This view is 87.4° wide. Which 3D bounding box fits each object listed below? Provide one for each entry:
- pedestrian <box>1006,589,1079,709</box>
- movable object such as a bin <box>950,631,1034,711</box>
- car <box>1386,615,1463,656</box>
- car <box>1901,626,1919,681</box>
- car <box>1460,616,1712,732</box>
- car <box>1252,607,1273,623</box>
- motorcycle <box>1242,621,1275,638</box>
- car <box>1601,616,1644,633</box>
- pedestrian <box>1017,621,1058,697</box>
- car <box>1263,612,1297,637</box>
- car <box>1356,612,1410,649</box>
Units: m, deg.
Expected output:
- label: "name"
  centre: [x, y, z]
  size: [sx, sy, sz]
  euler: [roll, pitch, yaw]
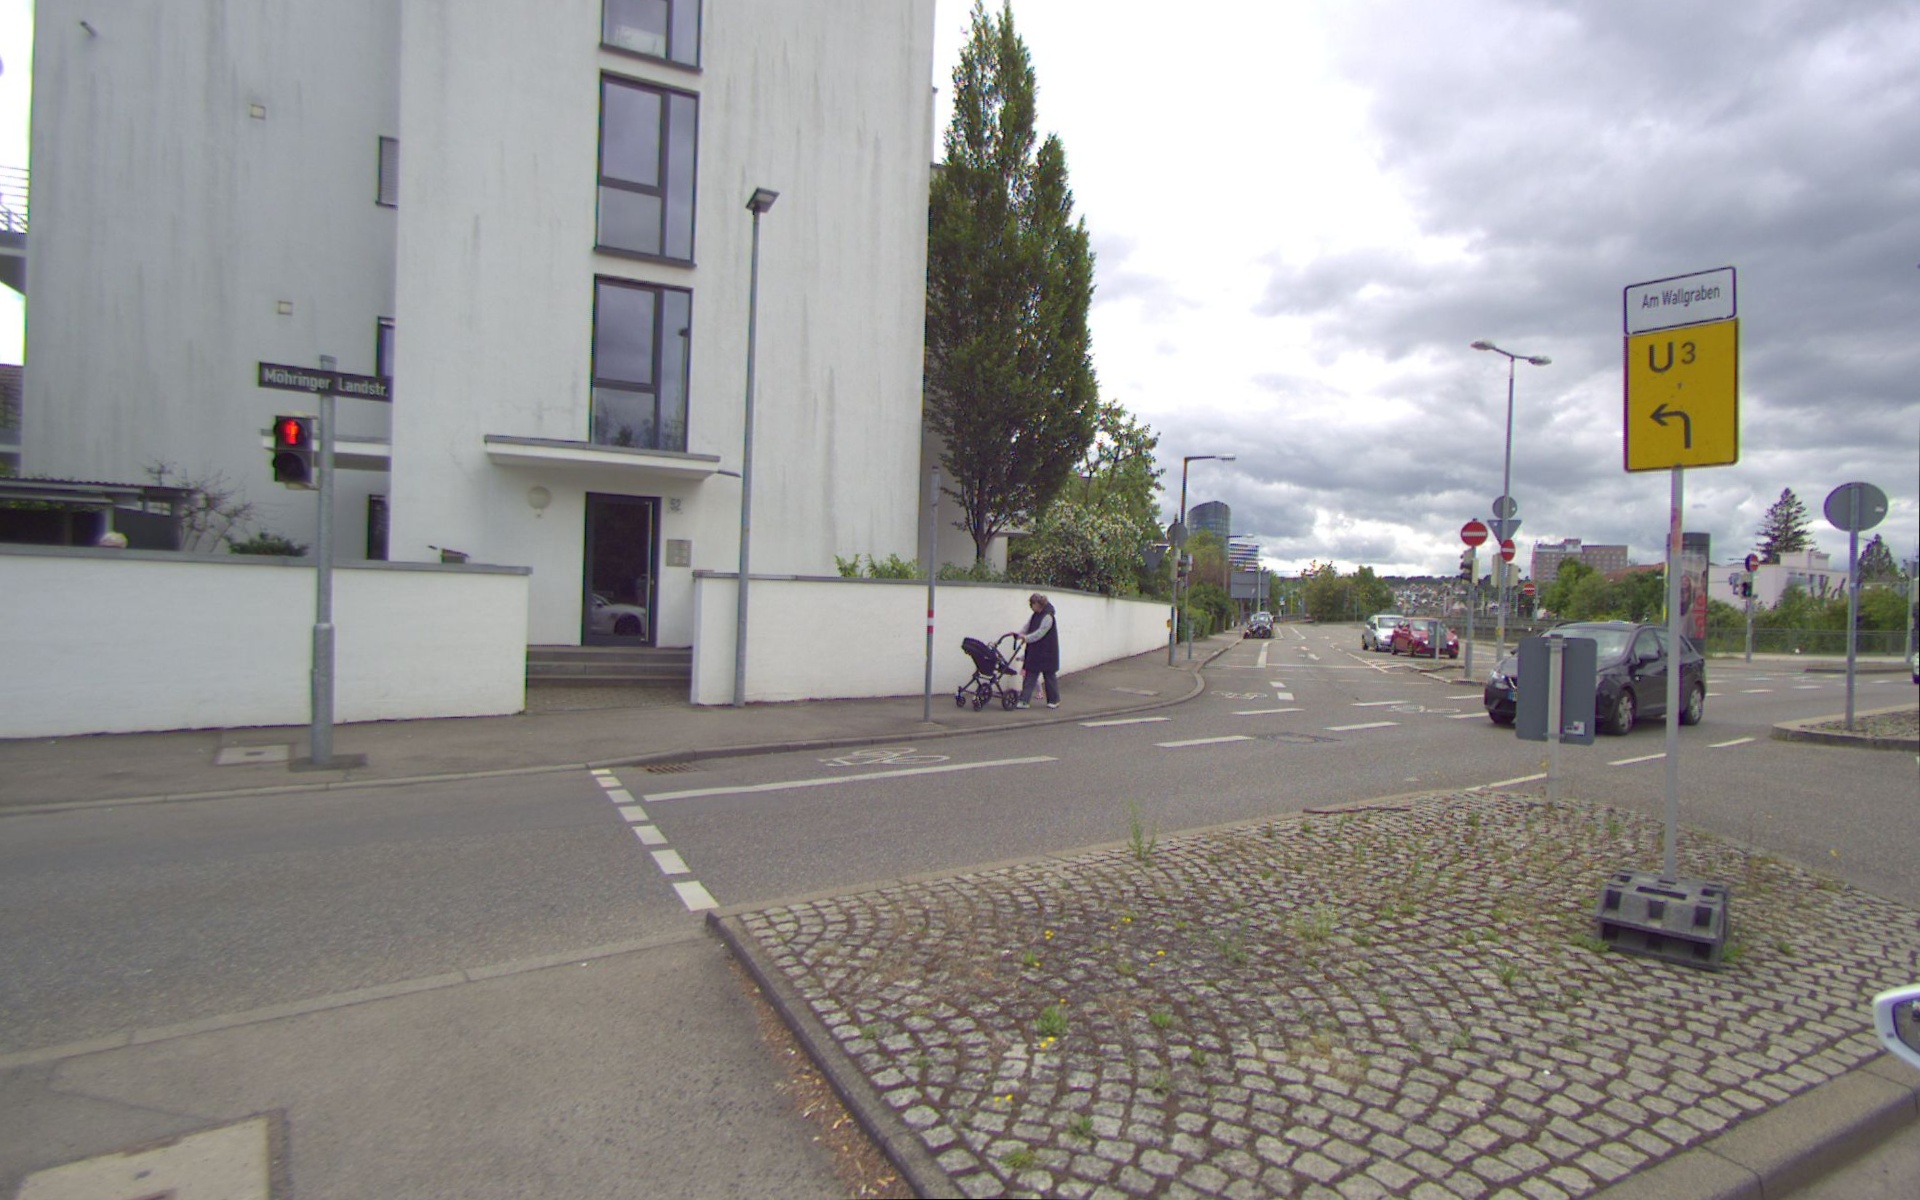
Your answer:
- label: "pedestrian"
  centre: [1.135, 0.662, 13.883]
  size: [0.725, 1.563, 0.527]
  euler: [1, 5, -36]
- label: "movable object such as a bin"
  centre: [0.428, 0.931, 13.430]
  size: [0.977, 0.973, 0.493]
  euler: [1, 5, -36]
- label: "car"
  centre: [17.695, 1.360, 38.428]
  size: [1.739, 1.466, 3.706]
  euler: [1, -1, 9]
- label: "car"
  centre: [27.181, 1.489, 27.227]
  size: [3.780, 1.428, 1.632]
  euler: [2, 1, -34]
- label: "car"
  centre: [8.851, 0.969, 14.107]
  size: [3.881, 1.409, 1.708]
  euler: [2, -2, -36]
- label: "car"
  centre: [31.895, 1.594, 105.973]
  size: [1.861, 1.629, 4.379]
  euler: [2, 0, 13]
- label: "motorcycle"
  centre: [19.620, 1.921, 66.039]
  size: [2.086, 1.012, 0.701]
  euler: [2, -4, -16]
- label: "car"
  centre: [73.684, 2.690, 111.756]
  size: [3.929, 1.685, 1.732]
  euler: [1, 1, 31]
- label: "pedestrian"
  centre: [1.140, 0.869, 14.800]
  size: [0.440, 1.076, 0.323]
  euler: [1, 4, -35]
- label: "car"
  centre: [22.882, 1.736, 72.060]
  size: [1.959, 1.629, 4.379]
  euler: [2, 0, 13]
- label: "car"
  centre: [18.707, 1.356, 44.548]
  size: [1.614, 1.555, 4.133]
  euler: [0, -2, 14]
